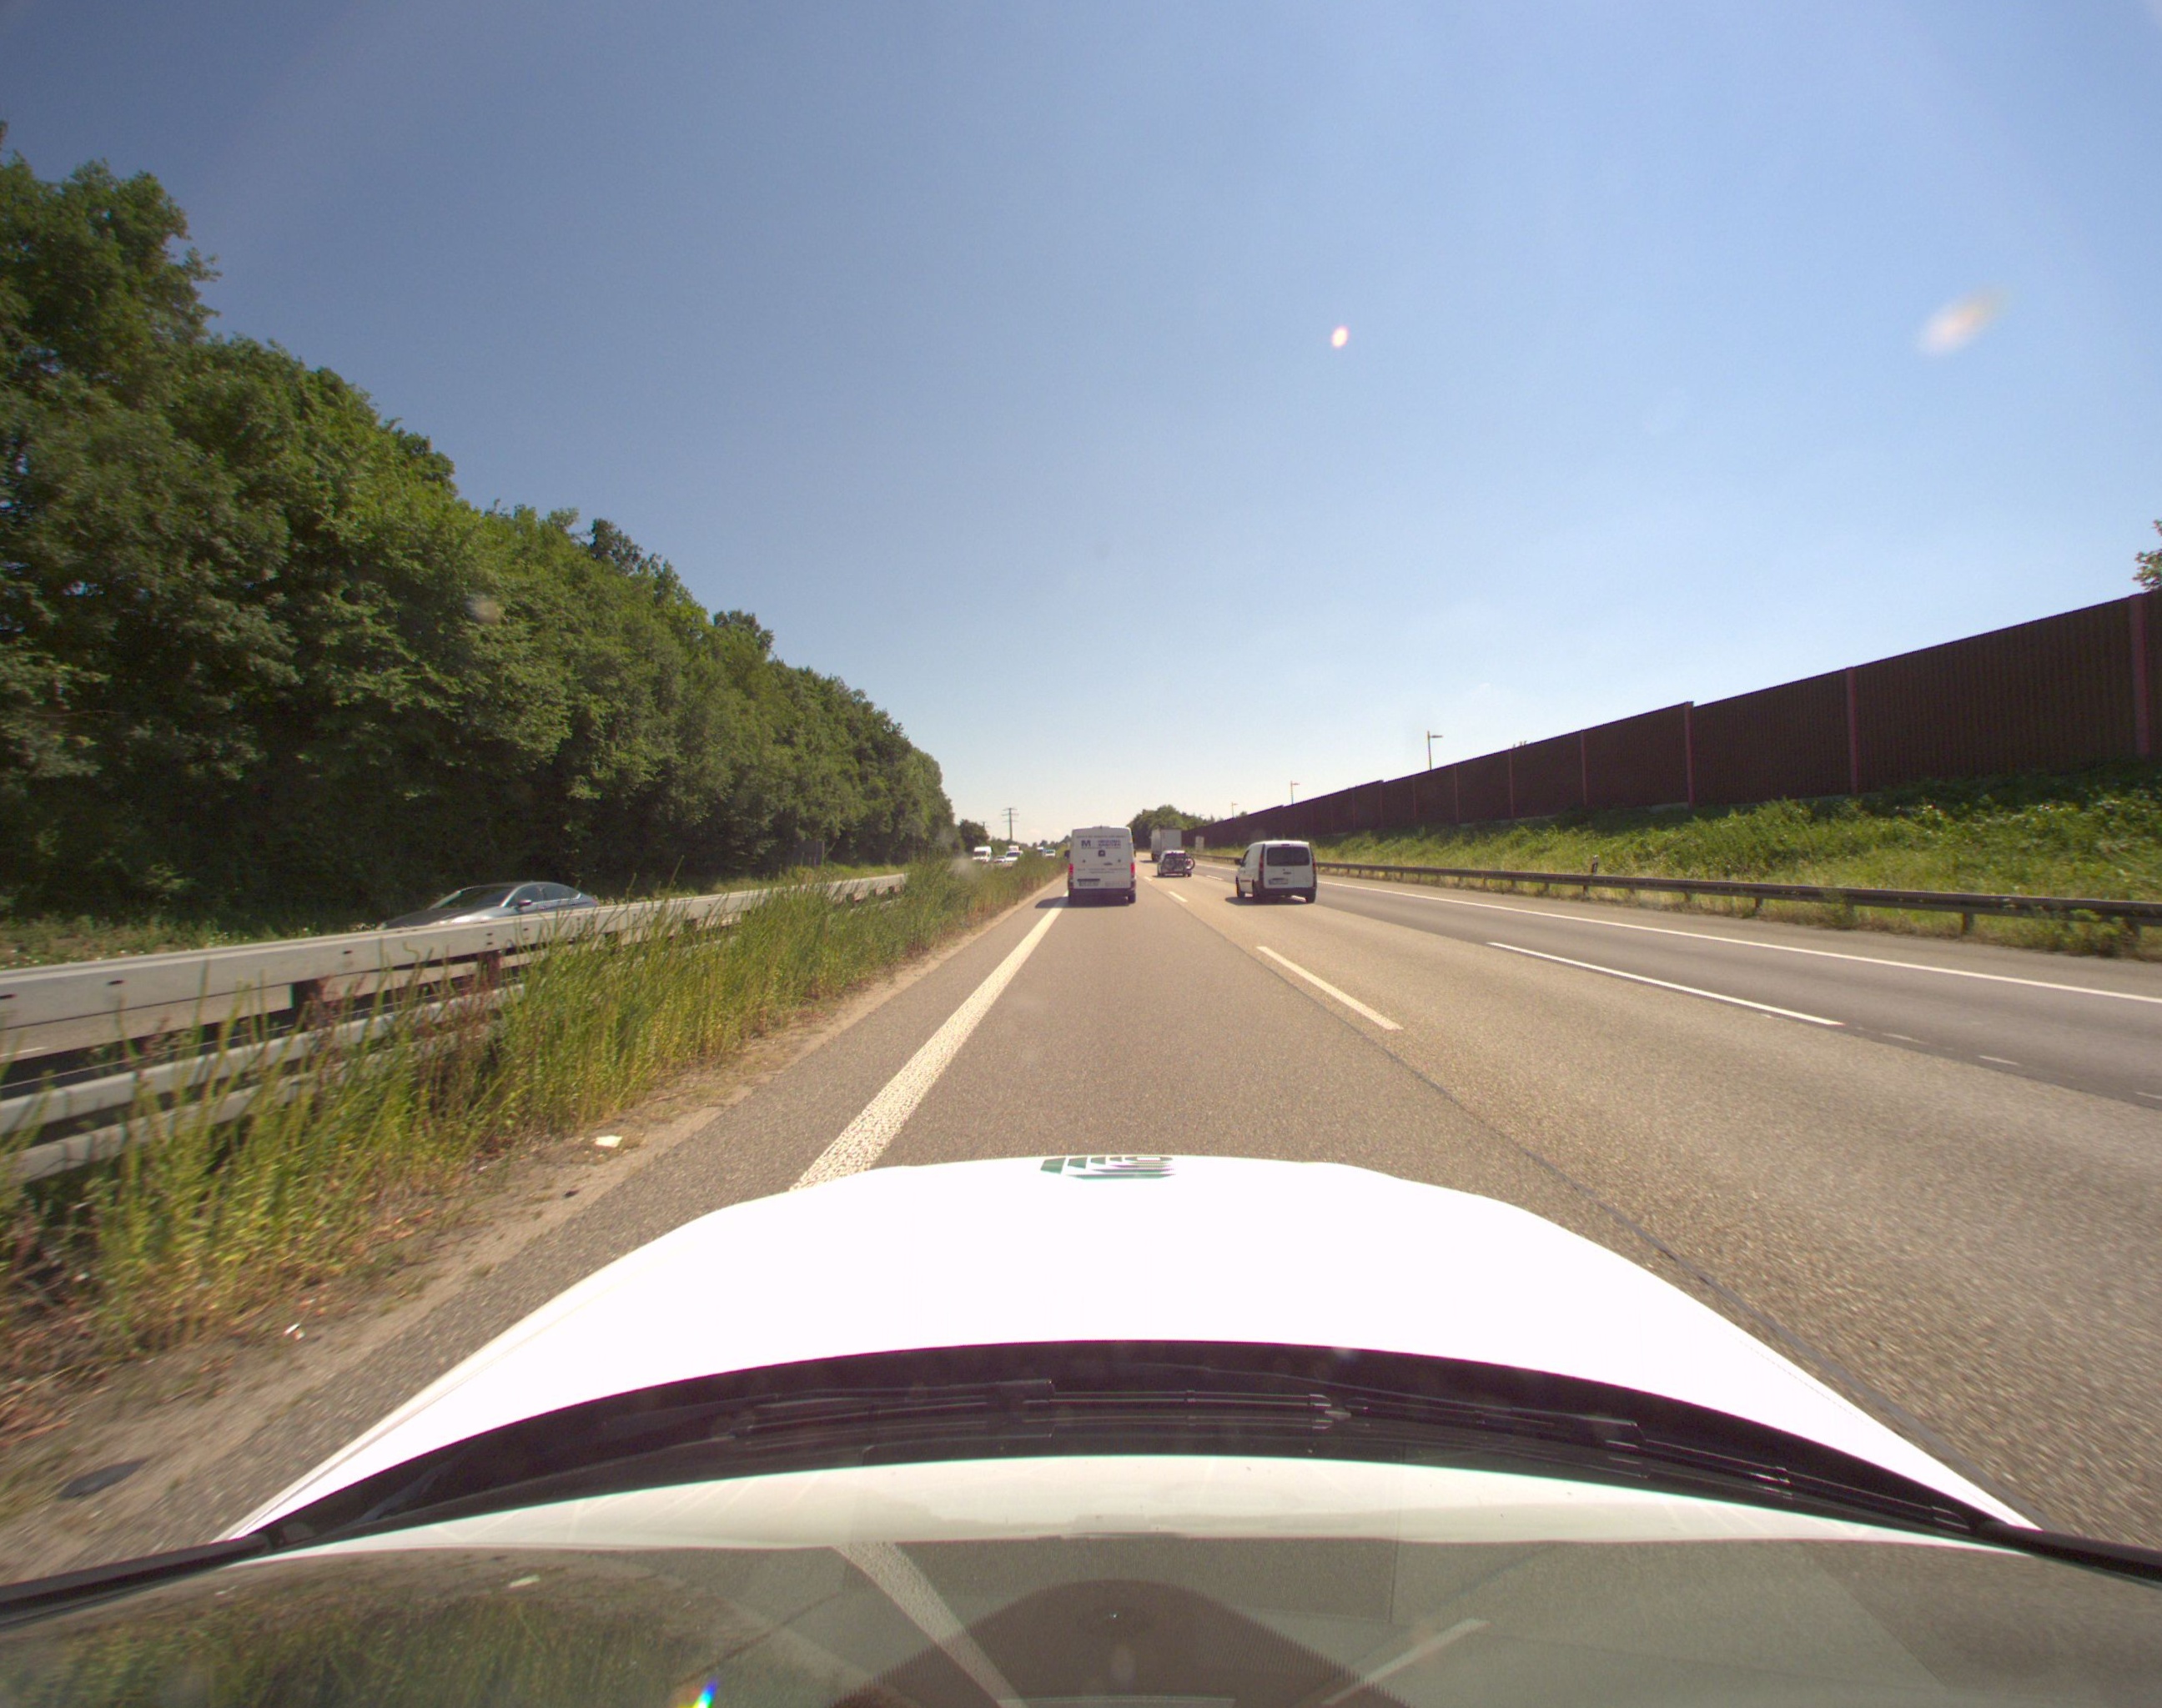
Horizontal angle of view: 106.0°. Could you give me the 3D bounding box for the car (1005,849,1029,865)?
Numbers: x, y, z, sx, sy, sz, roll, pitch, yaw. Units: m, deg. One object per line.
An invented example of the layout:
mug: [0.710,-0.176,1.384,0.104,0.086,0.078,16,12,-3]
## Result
car: [-6.597,0.287,84.645,1.986,1.587,4.427,-3,0,2]

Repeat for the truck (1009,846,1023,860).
truck: [-13.363,-0.229,167.371,1.985,2.741,5.863,0,-1,3]

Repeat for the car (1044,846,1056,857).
car: [-5.809,-0.463,153.090,1.987,2.013,4.000,-2,0,0]

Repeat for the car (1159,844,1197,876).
car: [5.638,0.337,47.671,1.967,1.733,4.092,-2,-1,4]

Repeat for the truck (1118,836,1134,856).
truck: [11.393,-1.935,205.694,3.772,5.000,12.530,0,-1,4]

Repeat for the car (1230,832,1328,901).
car: [5.872,0.378,24.709,1.944,1.838,4.178,-2,-1,1]

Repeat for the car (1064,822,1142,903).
car: [0.568,0.271,25.555,2.175,2.254,5.360,0,-1,-1]

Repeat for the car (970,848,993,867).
car: [-13.067,0.396,106.891,2.116,2.339,5.087,-3,0,2]

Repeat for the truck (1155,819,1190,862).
truck: [11.283,-1.501,101.809,3.772,5.000,12.530,0,-1,4]

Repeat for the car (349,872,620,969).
car: [-12.061,1.254,17.002,1.986,1.519,4.724,-3,0,2]
